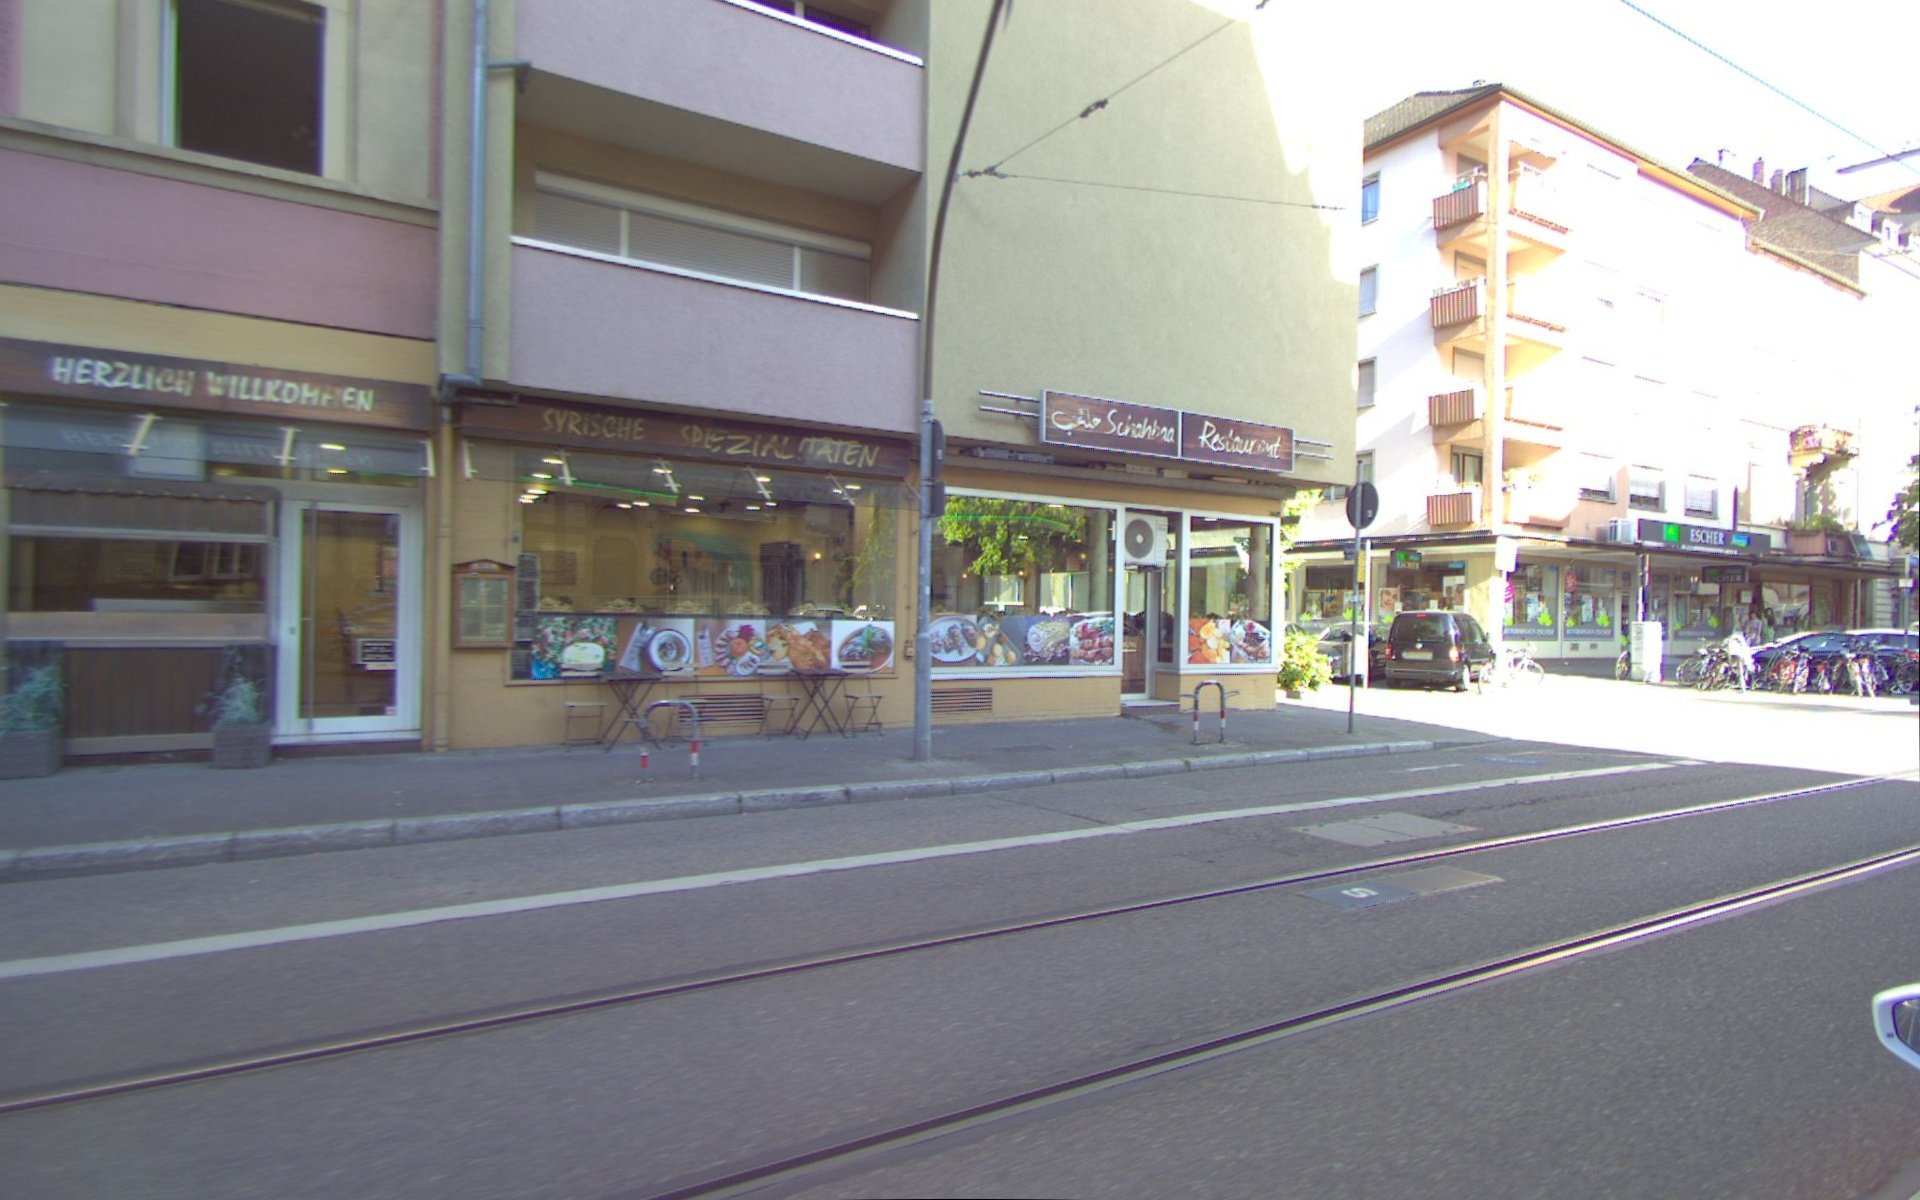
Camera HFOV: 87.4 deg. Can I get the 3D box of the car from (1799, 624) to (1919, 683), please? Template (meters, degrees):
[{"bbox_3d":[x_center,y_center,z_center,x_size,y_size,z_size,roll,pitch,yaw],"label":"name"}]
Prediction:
[{"bbox_3d":[25.063,1.428,27.151,3.410,1.493,1.645,1,0,32],"label":"car"}]

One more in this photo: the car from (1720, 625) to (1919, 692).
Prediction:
[{"bbox_3d":[20.509,1.348,24.031,3.406,1.355,1.623,2,0,26],"label":"car"}]

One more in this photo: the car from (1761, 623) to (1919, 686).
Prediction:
[{"bbox_3d":[22.968,1.371,25.575,3.722,1.419,1.752,2,0,28],"label":"car"}]

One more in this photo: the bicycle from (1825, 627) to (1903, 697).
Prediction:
[{"bbox_3d":[19.174,1.281,21.284,2.410,1.337,0.677,-1,2,-34],"label":"bicycle"}]

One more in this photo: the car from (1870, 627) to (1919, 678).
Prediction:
[{"bbox_3d":[30.076,1.642,30.013,3.945,1.469,1.697,2,0,28],"label":"car"}]

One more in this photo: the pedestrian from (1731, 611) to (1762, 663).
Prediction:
[{"bbox_3d":[25.496,1.199,32.575,0.634,1.674,0.566,2,0,-30],"label":"pedestrian"}]

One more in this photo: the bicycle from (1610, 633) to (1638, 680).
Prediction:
[{"bbox_3d":[16.480,1.383,24.919,0.398,1.124,1.829,1,-1,38],"label":"bicycle"}]

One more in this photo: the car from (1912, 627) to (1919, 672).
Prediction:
[{"bbox_3d":[32.967,1.660,31.825,3.780,1.449,1.760,2,0,35],"label":"car"}]

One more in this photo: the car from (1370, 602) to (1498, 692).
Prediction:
[{"bbox_3d":[11.613,1.067,24.449,1.821,1.841,4.337,-2,0,39],"label":"car"}]

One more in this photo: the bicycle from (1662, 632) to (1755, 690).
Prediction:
[{"bbox_3d":[17.017,1.365,22.917,0.670,1.124,2.436,0,1,10],"label":"bicycle"}]

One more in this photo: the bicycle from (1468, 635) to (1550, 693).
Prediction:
[{"bbox_3d":[12.261,1.408,22.415,2.412,1.124,0.676,-1,2,-37],"label":"bicycle"}]

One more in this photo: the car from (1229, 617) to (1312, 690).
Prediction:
[{"bbox_3d":[9.059,1.471,29.147,1.422,1.726,3.991,2,3,30],"label":"car"}]

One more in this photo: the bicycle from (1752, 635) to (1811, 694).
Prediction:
[{"bbox_3d":[18.127,1.401,22.193,0.671,1.139,1.884,0,1,29],"label":"bicycle"}]

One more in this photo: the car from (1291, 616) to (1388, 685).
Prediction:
[{"bbox_3d":[10.087,1.252,26.544,1.816,1.411,3.992,1,3,29],"label":"car"}]

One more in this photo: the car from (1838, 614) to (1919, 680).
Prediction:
[{"bbox_3d":[27.682,1.364,28.593,3.757,1.808,1.793,2,0,32],"label":"car"}]
